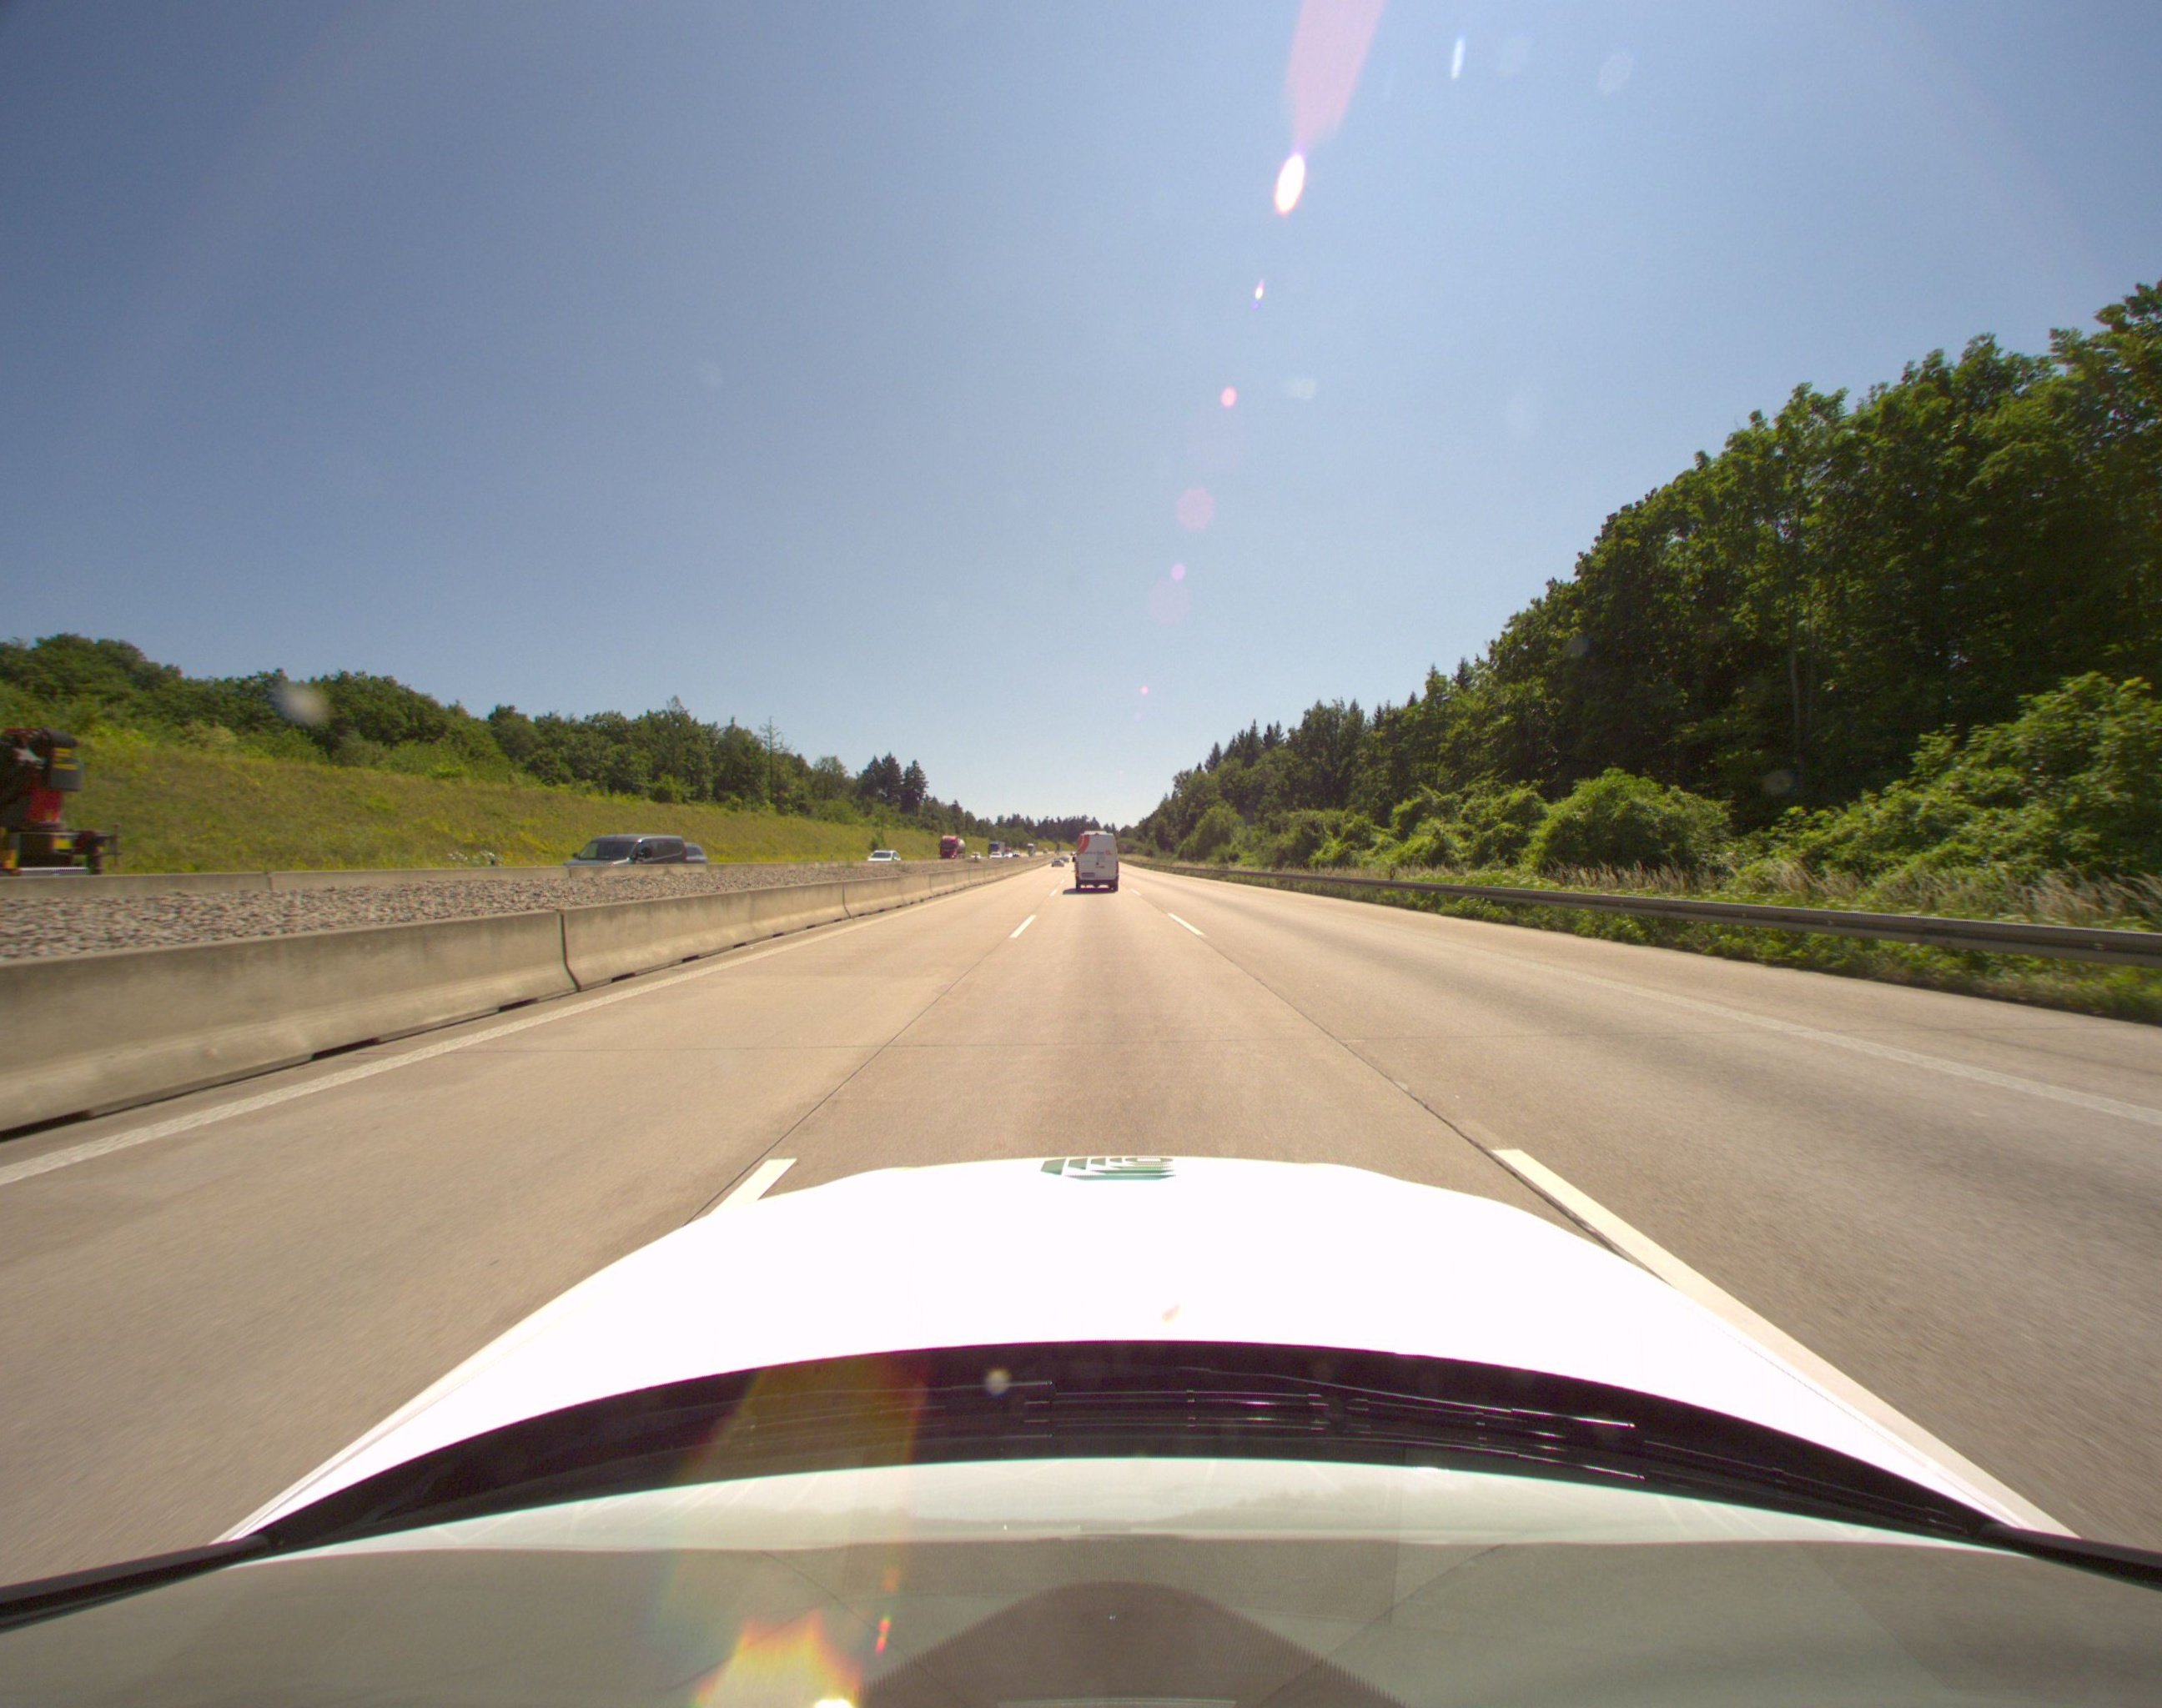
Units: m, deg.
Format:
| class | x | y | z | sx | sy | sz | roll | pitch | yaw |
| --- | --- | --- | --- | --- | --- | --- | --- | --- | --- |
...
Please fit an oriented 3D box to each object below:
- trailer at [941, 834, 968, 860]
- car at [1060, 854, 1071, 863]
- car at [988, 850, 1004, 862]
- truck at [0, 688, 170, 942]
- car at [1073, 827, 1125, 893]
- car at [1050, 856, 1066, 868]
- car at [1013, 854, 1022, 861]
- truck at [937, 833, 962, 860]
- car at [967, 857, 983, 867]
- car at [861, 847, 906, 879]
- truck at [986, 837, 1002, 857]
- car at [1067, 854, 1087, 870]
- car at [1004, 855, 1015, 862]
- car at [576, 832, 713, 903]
| class | x | y | z | sx | sy | sz | roll | pitch | yaw |
| --- | --- | --- | --- | --- | --- | --- | --- | --- | --- |
| trailer | -21.155 | -1.132 | 136.750 | 2.924 | 4.169 | 9.333 | 1 | 0 | 0 |
| car | -3.134 | 0.868 | 164.911 | 1.985 | 1.684 | 4.004 | 1 | 0 | 4 |
| car | -13.448 | 0.273 | 129.384 | 1.987 | 1.873 | 4.968 | 1 | 0 | 0 |
| truck | -20.734 | -0.684 | 11.492 | 2.903 | 4.513 | 11.260 | -1 | 0 | 1 |
| car | 0.765 | 0.242 | 38.741 | 2.220 | 2.844 | 5.452 | 1 | 0 | -1 |
| car | -3.364 | 1.242 | 122.383 | 1.985 | 1.684 | 4.004 | 1 | 0 | 4 |
| car | -16.935 | 0.927 | 217.193 | 1.987 | 1.583 | 5.518 | 1 | 0 | 0 |
| truck | -21.180 | -1.159 | 131.640 | 2.924 | 4.169 | 5.981 | 1 | 0 | 0 |
| car | -17.018 | 1.213 | 131.483 | 1.987 | 1.583 | 4.179 | 1 | 0 | 0 |
| car | -13.423 | 0.612 | 55.526 | 1.988 | 2.013 | 4.458 | -1 | 0 | -1 |
| truck | -21.292 | -1.667 | 199.088 | 3.247 | 4.504 | 6.572 | 1 | 0 | -1 |
| car | -0.425 | 0.885 | 91.359 | 1.985 | 1.684 | 4.004 | 1 | 0 | 4 |
| car | -16.706 | 0.947 | 190.925 | 1.987 | 1.583 | 4.529 | 1 | 0 | 0 |
| car | -13.768 | 0.405 | 26.053 | 1.988 | 2.013 | 4.458 | -1 | 0 | -1 |
